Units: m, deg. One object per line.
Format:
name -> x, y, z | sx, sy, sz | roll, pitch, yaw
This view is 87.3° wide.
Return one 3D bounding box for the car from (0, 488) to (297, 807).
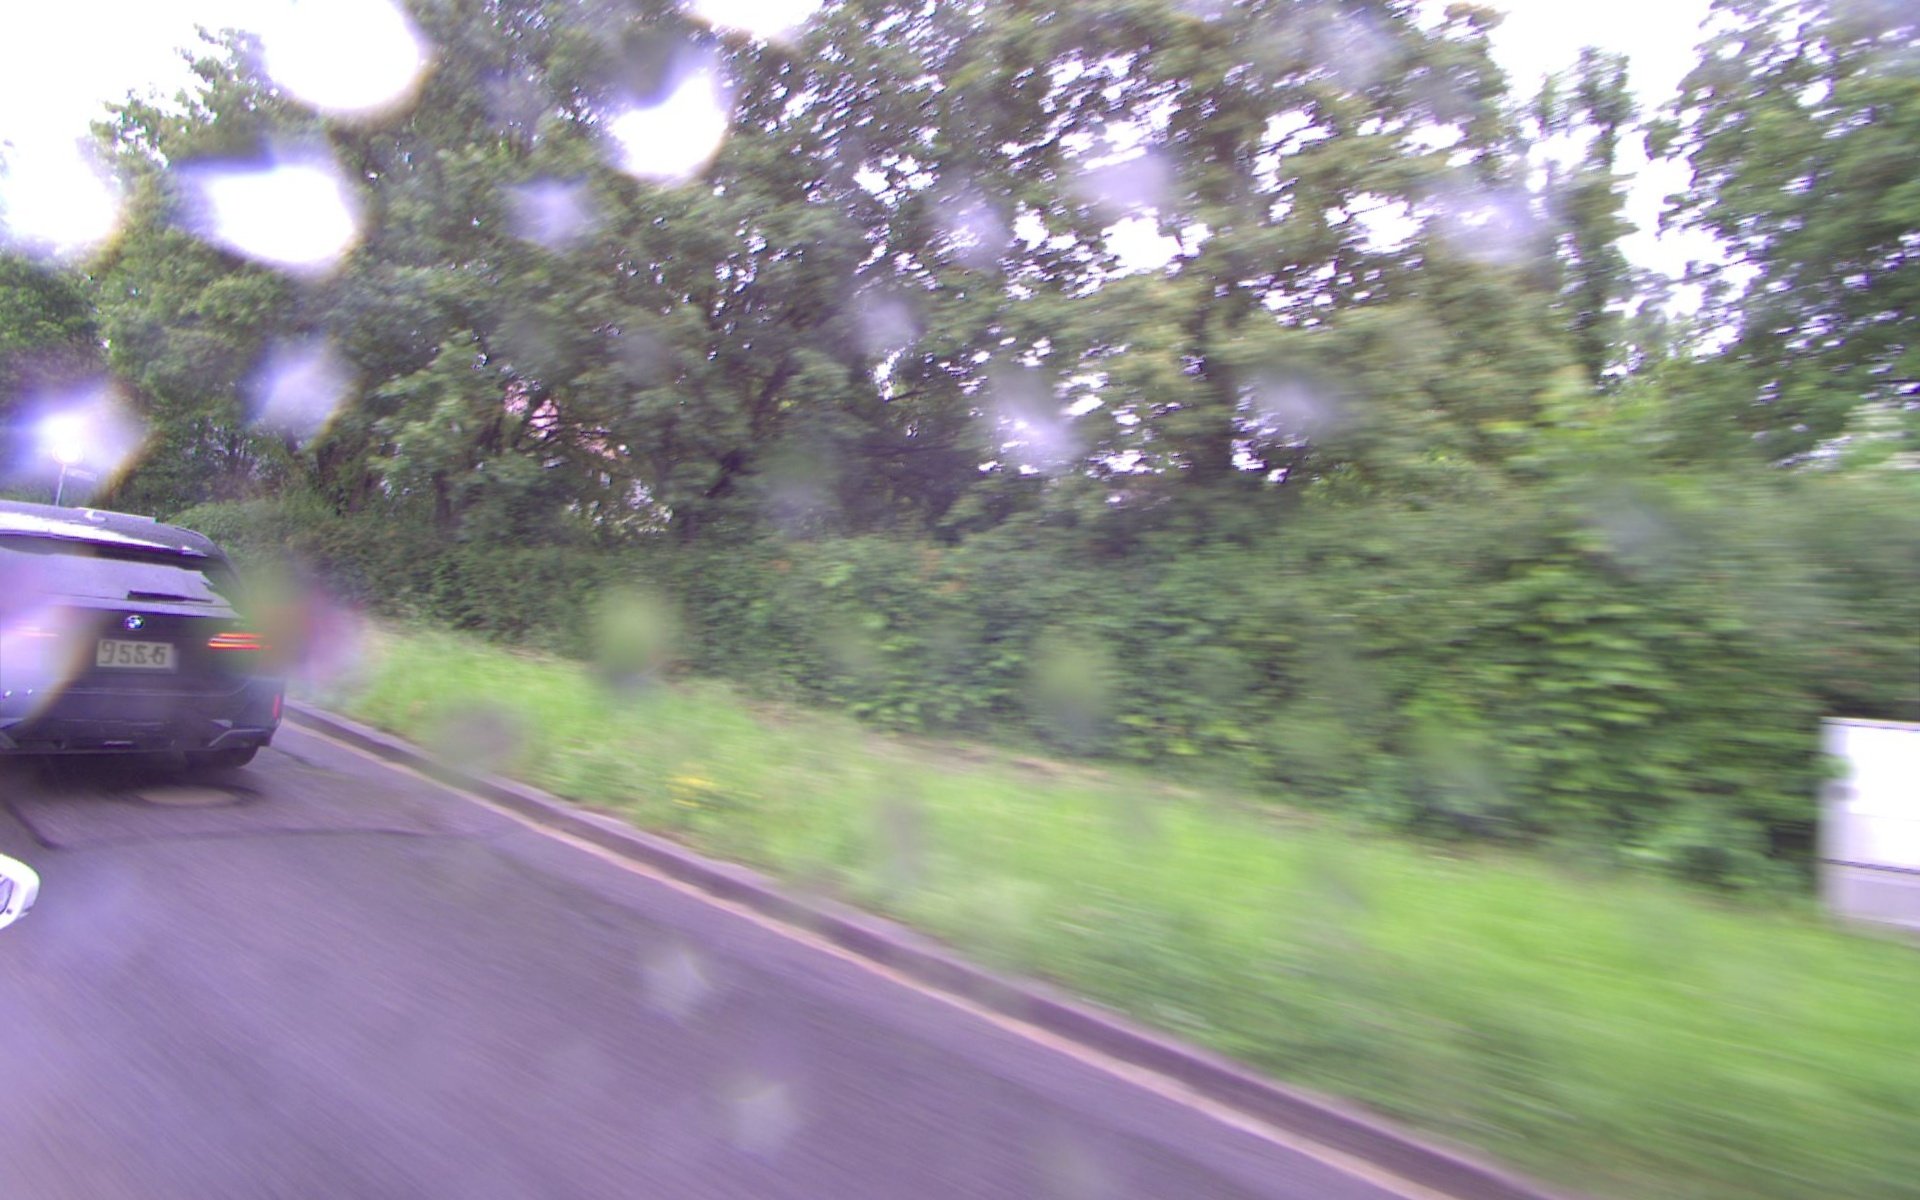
car -> -5.904, 0.126, 6.268 | 3.618, 1.554, 1.765 | 6, -2, 38
